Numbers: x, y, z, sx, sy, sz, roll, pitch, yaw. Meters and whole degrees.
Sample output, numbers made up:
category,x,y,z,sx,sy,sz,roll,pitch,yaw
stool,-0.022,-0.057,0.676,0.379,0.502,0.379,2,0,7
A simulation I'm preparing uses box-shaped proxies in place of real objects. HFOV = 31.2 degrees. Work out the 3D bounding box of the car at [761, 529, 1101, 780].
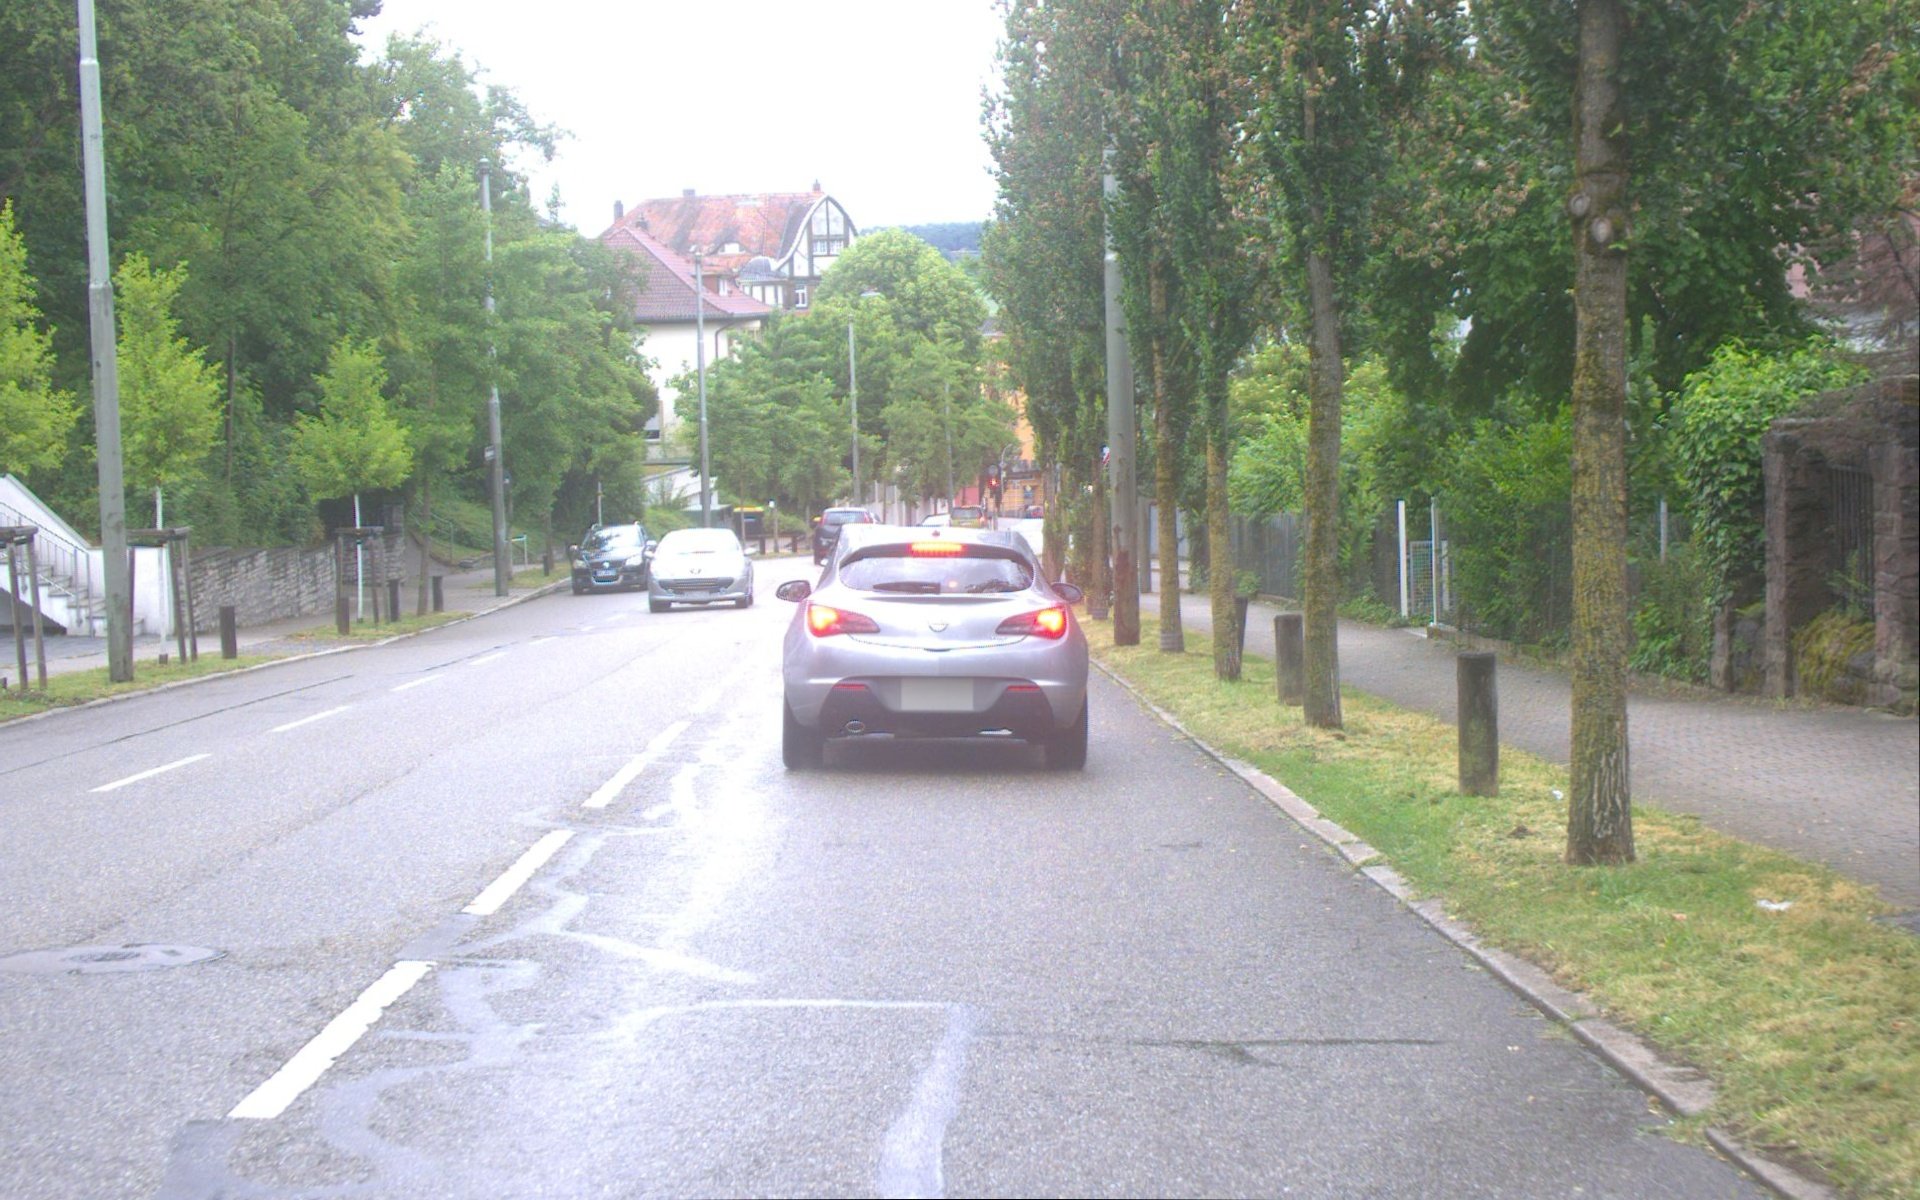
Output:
category,x,y,z,sx,sy,sz,roll,pitch,yaw
car,-0.195,0.278,21.764,1.945,1.427,3.884,1,1,-1

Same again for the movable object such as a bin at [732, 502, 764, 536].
category,x,y,z,sx,sy,sz,roll,pitch,yaw
movable object such as a bin,-8.800,-3.364,142.744,1.272,1.382,0.489,0,2,4

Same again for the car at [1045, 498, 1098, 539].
category,x,y,z,sx,sy,sz,roll,pitch,yaw
car,5.858,-4.293,180.414,2.334,2.029,4.734,2,2,7

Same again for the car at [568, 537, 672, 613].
category,x,y,z,sx,sy,sz,roll,pitch,yaw
car,-7.423,-0.572,75.441,1.745,1.544,3.918,-3,1,1

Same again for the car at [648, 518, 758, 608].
category,x,y,z,sx,sy,sz,roll,pitch,yaw
car,-4.515,-0.666,60.906,1.761,1.481,4.000,-2,1,-2

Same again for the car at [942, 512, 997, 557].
category,x,y,z,sx,sy,sz,roll,pitch,yaw
car,0.366,-2.507,130.884,1.754,1.645,4.000,2,1,5

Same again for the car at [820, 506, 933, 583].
category,x,y,z,sx,sy,sz,roll,pitch,yaw
car,-1.736,-1.207,73.164,1.961,1.467,3.951,2,2,5

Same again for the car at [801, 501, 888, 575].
category,x,y,z,sx,sy,sz,roll,pitch,yaw
car,-3.010,-1.649,90.263,1.769,1.775,3.976,2,2,5

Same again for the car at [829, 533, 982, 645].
category,x,y,z,sx,sy,sz,roll,pitch,yaw
car,-0.643,-0.175,43.346,1.798,1.318,4.000,0,1,1
